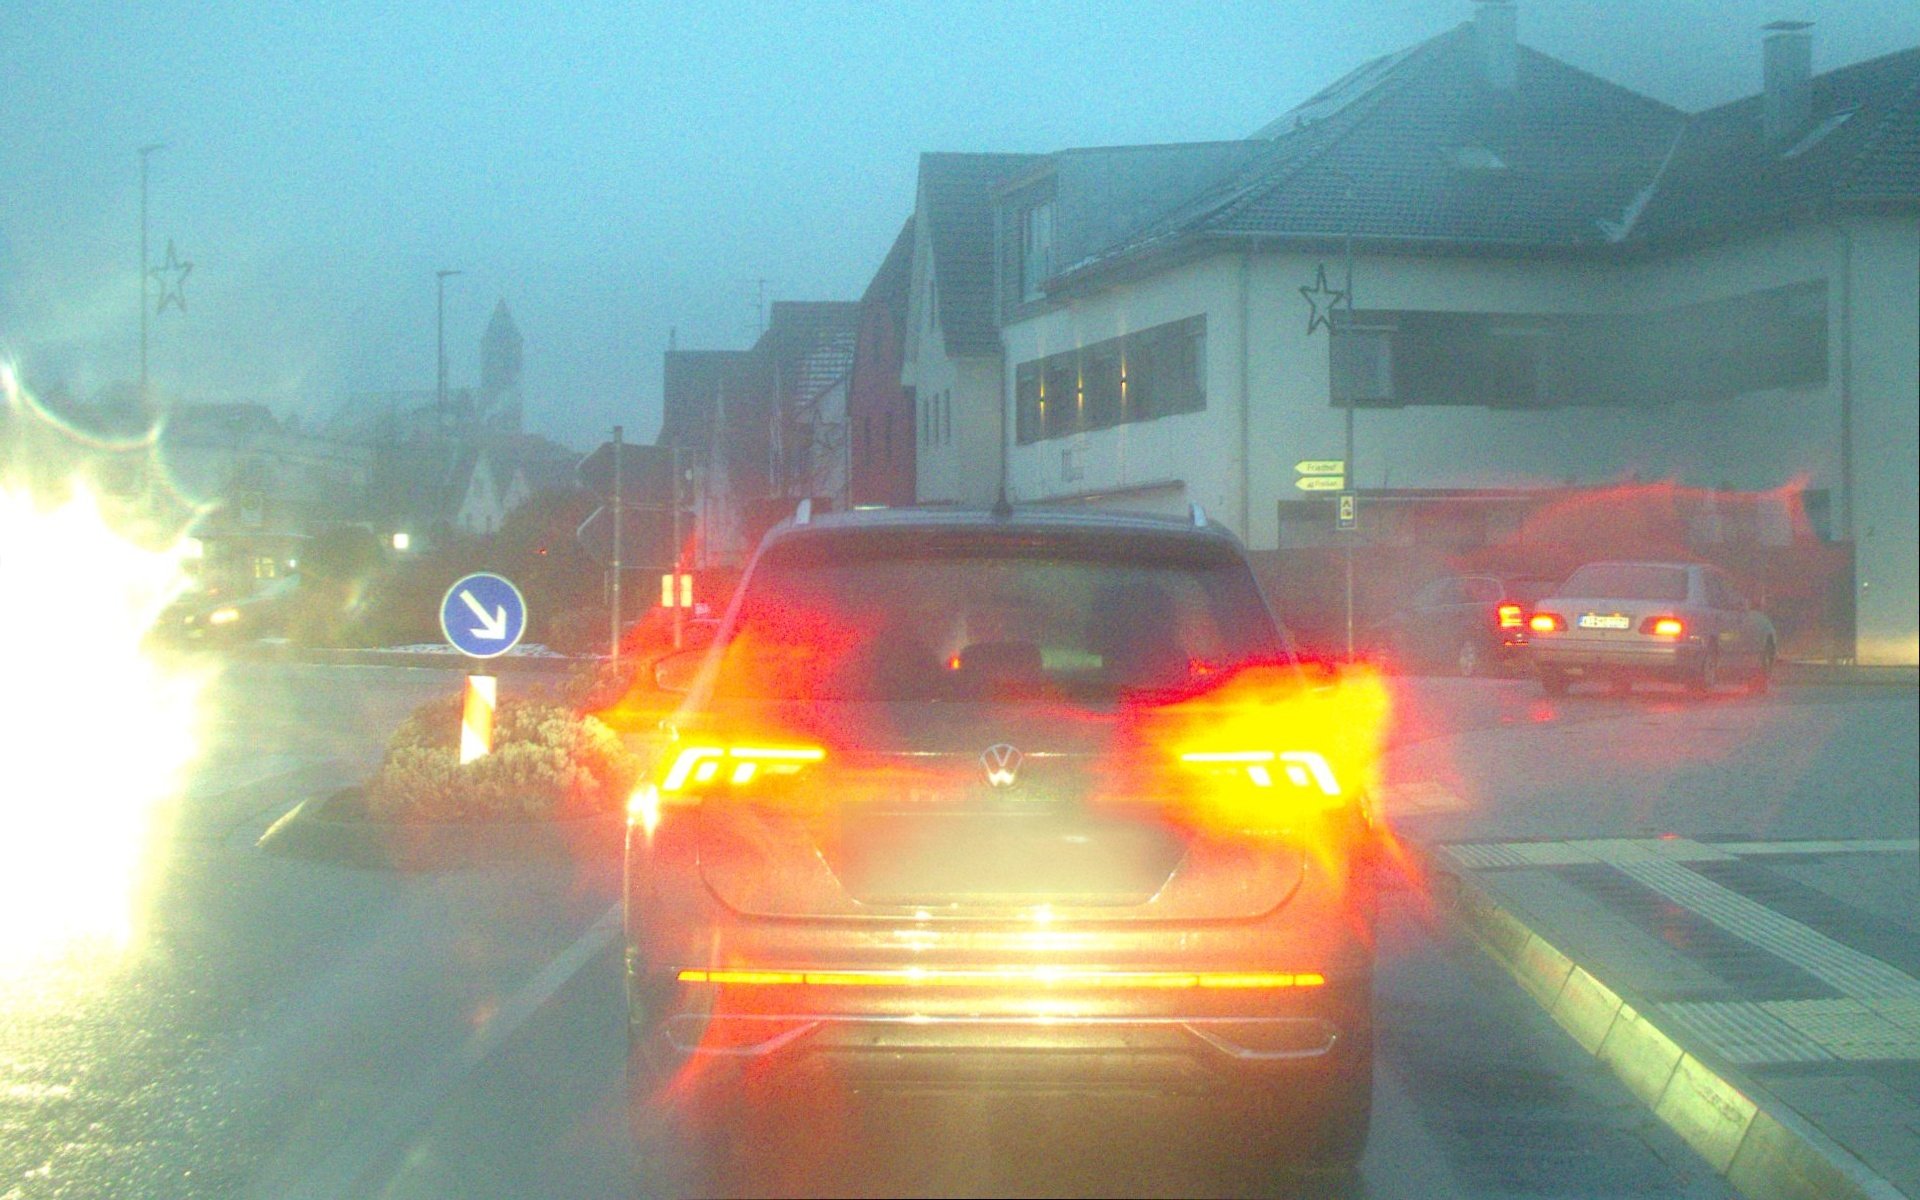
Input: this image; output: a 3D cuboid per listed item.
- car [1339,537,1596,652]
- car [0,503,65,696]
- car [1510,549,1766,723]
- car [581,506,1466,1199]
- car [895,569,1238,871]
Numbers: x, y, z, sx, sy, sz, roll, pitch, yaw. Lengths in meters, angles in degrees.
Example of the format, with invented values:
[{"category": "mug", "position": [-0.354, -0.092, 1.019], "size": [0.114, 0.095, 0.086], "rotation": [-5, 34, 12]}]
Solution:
[{"category": "car", "position": [6.698, -0.084, 45.790], "size": [1.645, 1.460, 4.001], "rotation": [1, 0, -20]}, {"category": "car", "position": [-10.151, -0.027, 33.942], "size": [1.718, 1.806, 4.137], "rotation": [0, 0, -26]}, {"category": "car", "position": [7.265, 0.343, 36.542], "size": [1.824, 1.622, 3.996], "rotation": [-1, 2, 23]}, {"category": "car", "position": [0.078, 0.581, 9.483], "size": [1.915, 1.609, 3.951], "rotation": [1, 1, -2]}, {"category": "car", "position": [0.605, 0.602, 19.818], "size": [1.778, 1.533, 3.932], "rotation": [0, 1, 2]}]
